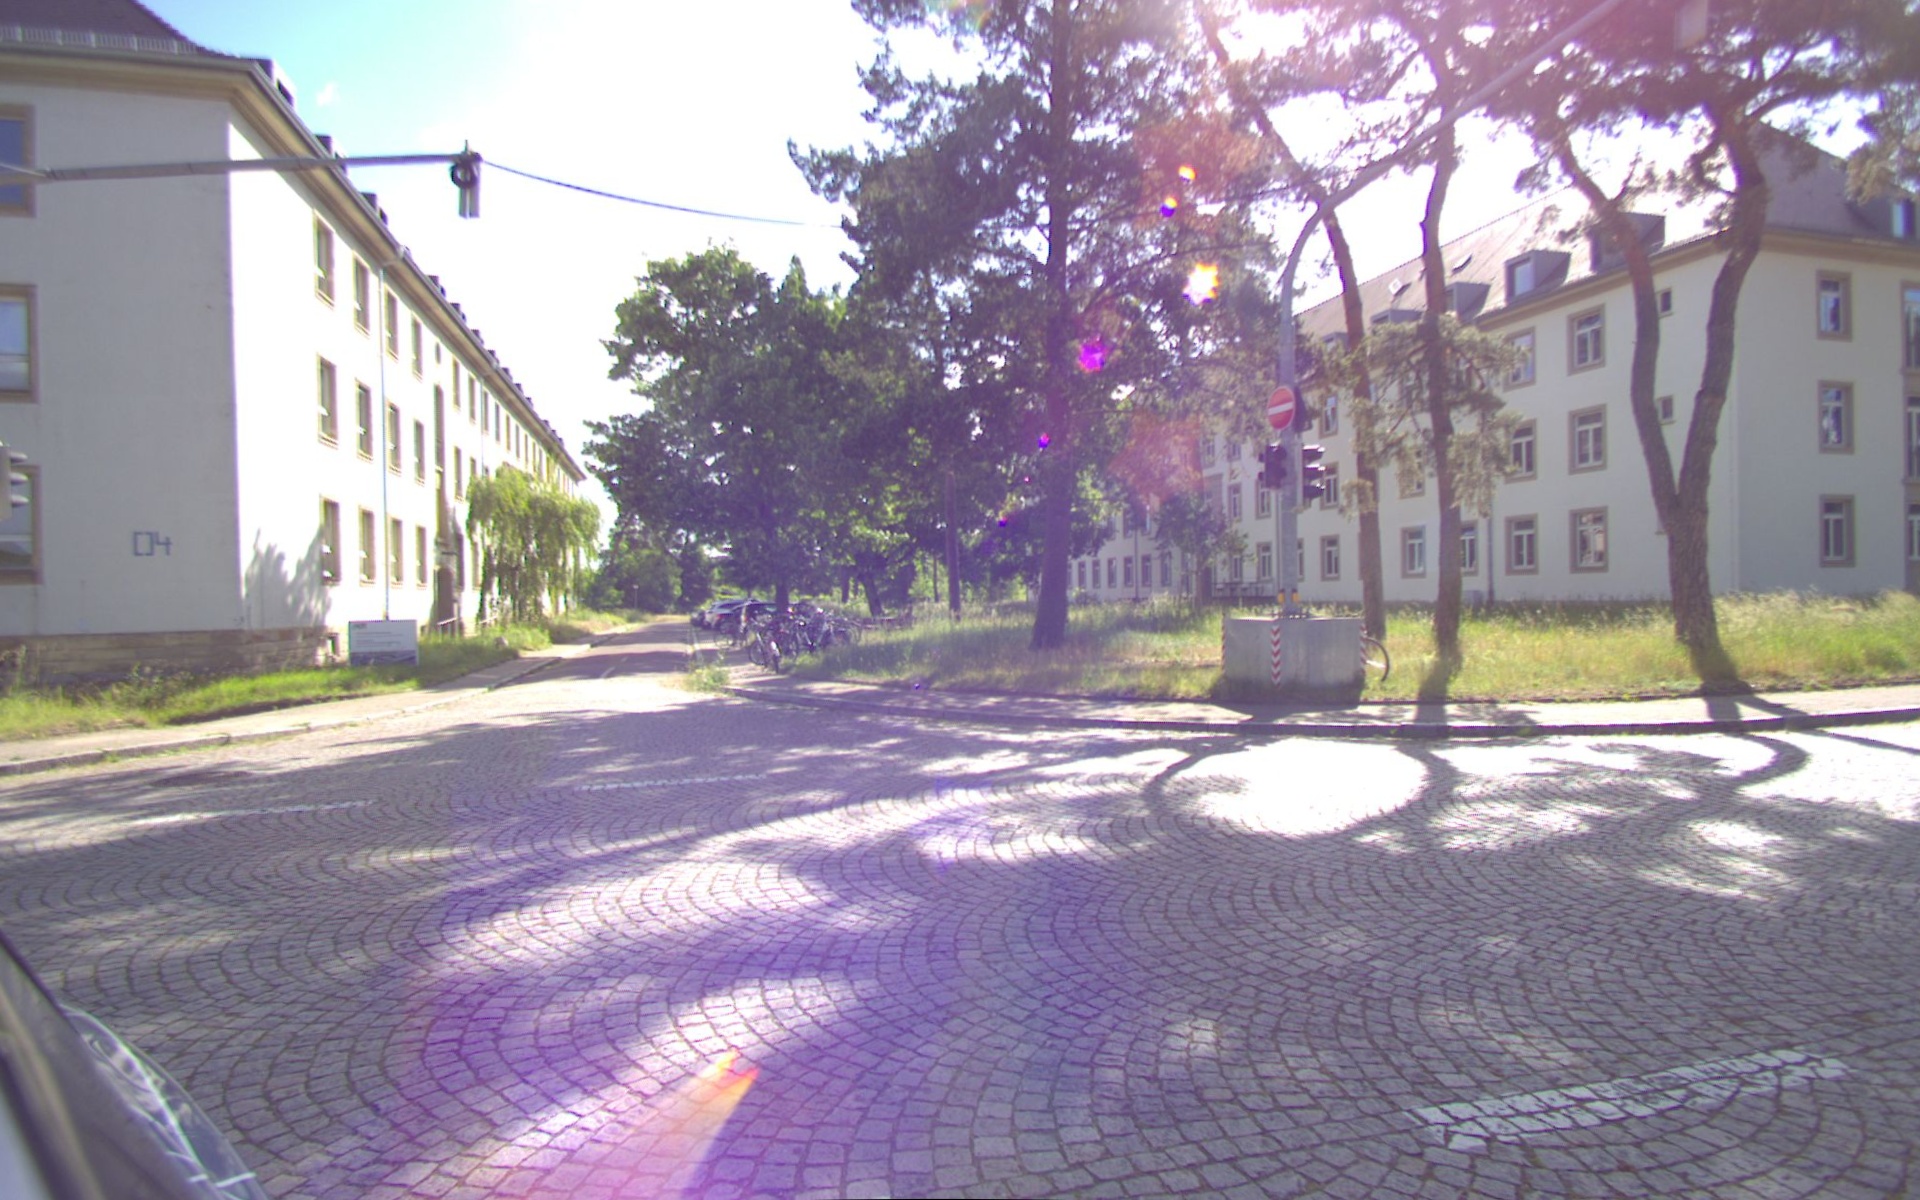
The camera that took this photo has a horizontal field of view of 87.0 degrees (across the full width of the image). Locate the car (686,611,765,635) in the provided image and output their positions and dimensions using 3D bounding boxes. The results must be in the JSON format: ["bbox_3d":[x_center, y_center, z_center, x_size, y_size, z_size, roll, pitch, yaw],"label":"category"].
[{"bbox_3d":[-13.575,1.314,58.667,4.153,1.311,1.824,-1,0,-25],"label":"car"}]

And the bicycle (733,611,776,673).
[{"bbox_3d":[-4.705,0.928,23.125,0.611,1.293,2.122,-3,1,-20],"label":"bicycle"}]

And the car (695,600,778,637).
[{"bbox_3d":[-12.299,0.989,55.739,4.153,1.928,1.824,-1,0,-25],"label":"car"}]

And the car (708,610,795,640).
[{"bbox_3d":[-10.376,1.220,50.414,3.975,1.374,1.824,-1,0,-22],"label":"car"}]

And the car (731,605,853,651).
[{"bbox_3d":[-6.014,0.953,36.259,3.975,1.513,1.824,-1,0,-23],"label":"car"}]

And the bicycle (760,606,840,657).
[{"bbox_3d":[-4.502,0.870,28.459,2.079,1.293,0.623,-3,0,-19],"label":"bicycle"}]

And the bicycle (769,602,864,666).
[{"bbox_3d":[-3.497,0.814,24.655,2.080,1.293,0.623,-7,2,-18],"label":"bicycle"}]

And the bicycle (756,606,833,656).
[{"bbox_3d":[-4.791,0.875,29.320,2.079,1.293,0.623,-3,0,-19],"label":"bicycle"}]

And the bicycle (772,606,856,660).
[{"bbox_3d":[-3.879,0.852,26.889,2.078,1.293,0.623,-3,0,-21],"label":"bicycle"}]

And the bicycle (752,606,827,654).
[{"bbox_3d":[-5.075,0.887,30.119,2.079,1.293,0.623,-3,0,-19],"label":"bicycle"}]

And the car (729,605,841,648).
[{"bbox_3d":[-6.781,0.993,39.194,3.975,1.534,1.824,-1,0,-23],"label":"car"}]

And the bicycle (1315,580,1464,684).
[{"bbox_3d":[5.919,0.419,14.111,0.611,1.293,2.121,-4,0,-17],"label":"bicycle"}]

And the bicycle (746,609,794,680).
[{"bbox_3d":[-3.977,0.889,21.061,0.611,1.360,2.122,-3,1,-20],"label":"bicycle"}]

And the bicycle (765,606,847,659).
[{"bbox_3d":[-4.210,0.868,27.660,2.078,1.293,0.623,-3,0,-21],"label":"bicycle"}]
